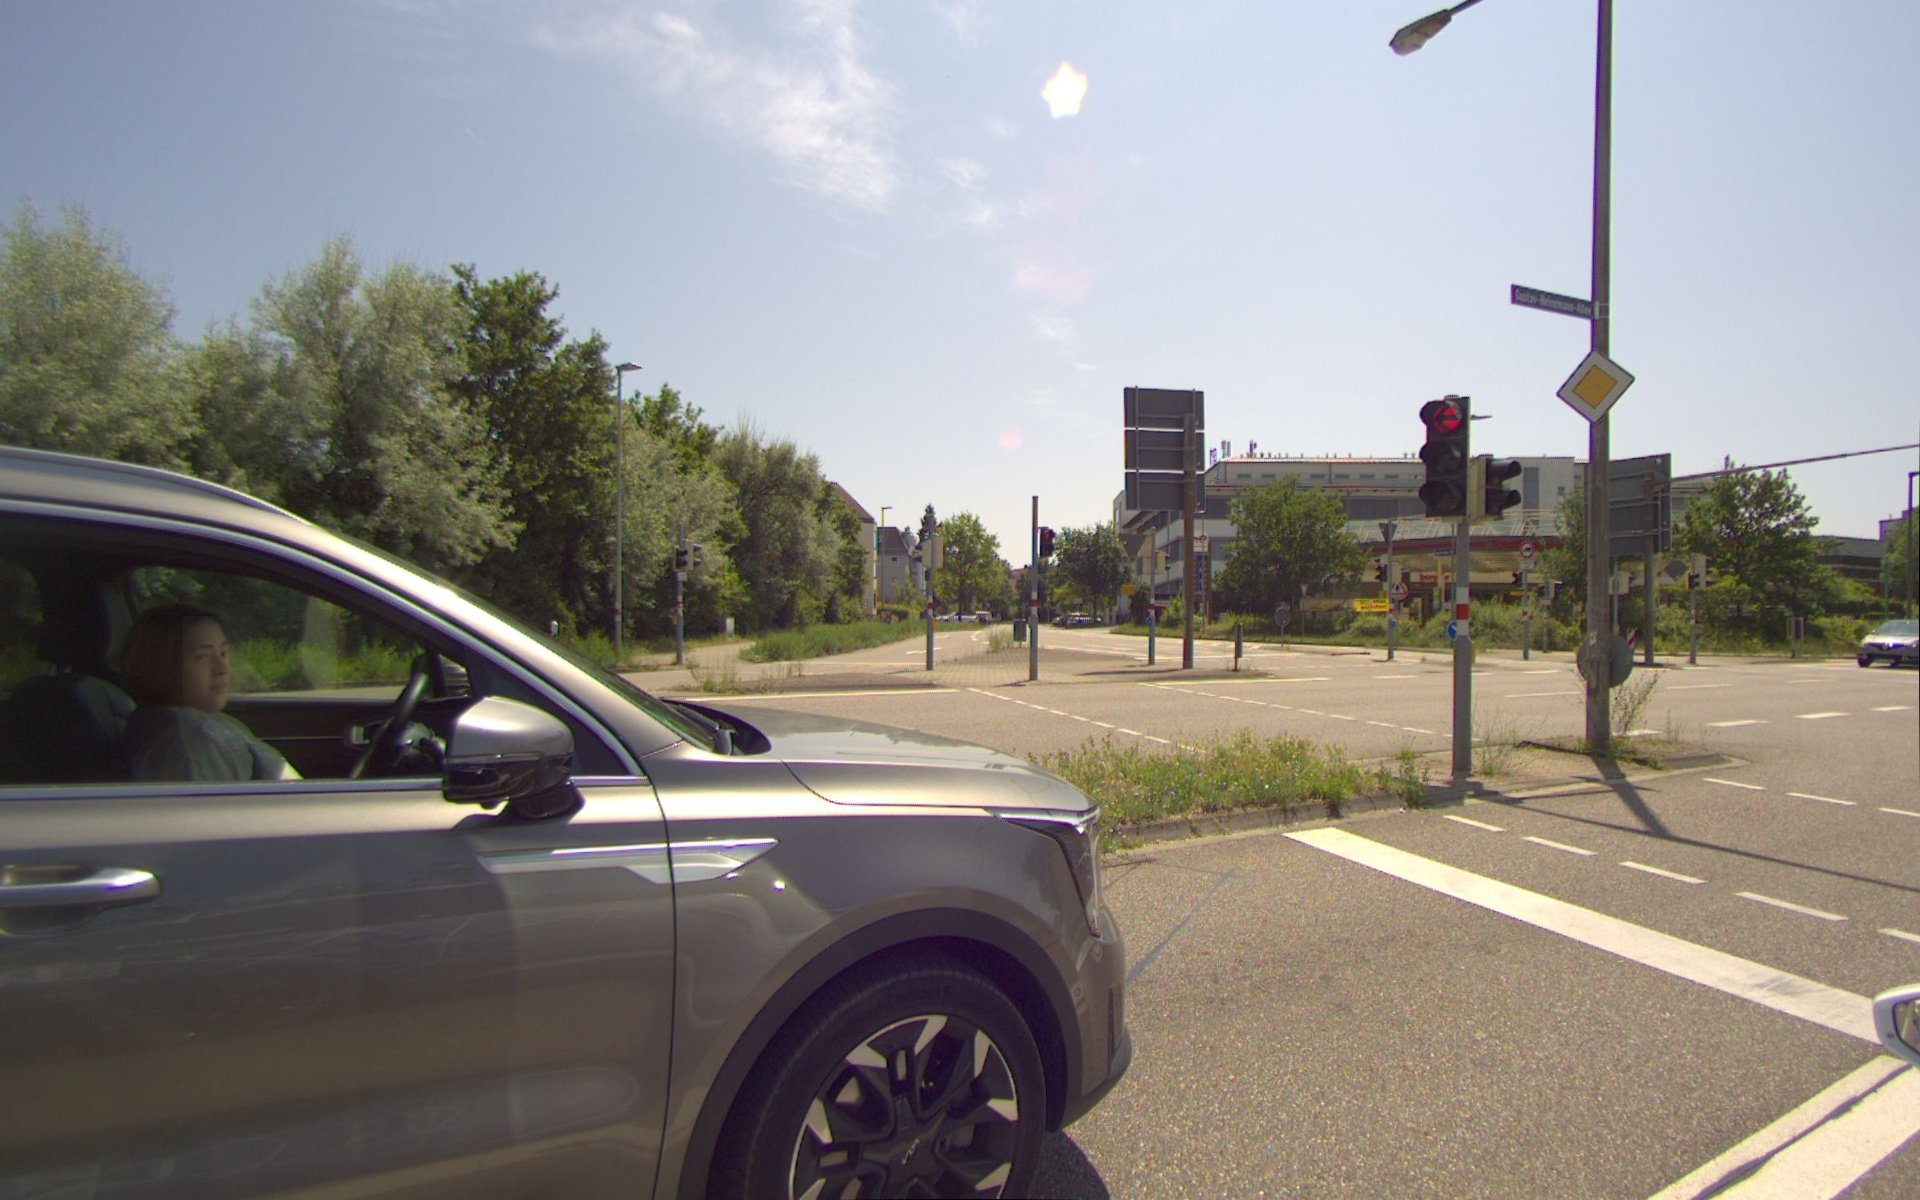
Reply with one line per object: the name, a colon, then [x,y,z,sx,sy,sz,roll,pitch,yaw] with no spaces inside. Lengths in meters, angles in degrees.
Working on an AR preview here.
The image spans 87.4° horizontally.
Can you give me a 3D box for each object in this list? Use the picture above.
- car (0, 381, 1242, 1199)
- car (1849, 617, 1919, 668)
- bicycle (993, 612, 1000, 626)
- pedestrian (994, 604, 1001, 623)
car: [-1.661,0.569,2.080,4.480,1.690,1.771,1,-1,-31]
car: [31.378,1.383,33.355,3.954,1.560,1.650,1,1,-31]
bicycle: [5.571,2.887,152.486,0.876,2.040,3.196,0,-1,6]
pedestrian: [5.677,2.021,152.513,0.864,2.751,1.518,2,0,8]
